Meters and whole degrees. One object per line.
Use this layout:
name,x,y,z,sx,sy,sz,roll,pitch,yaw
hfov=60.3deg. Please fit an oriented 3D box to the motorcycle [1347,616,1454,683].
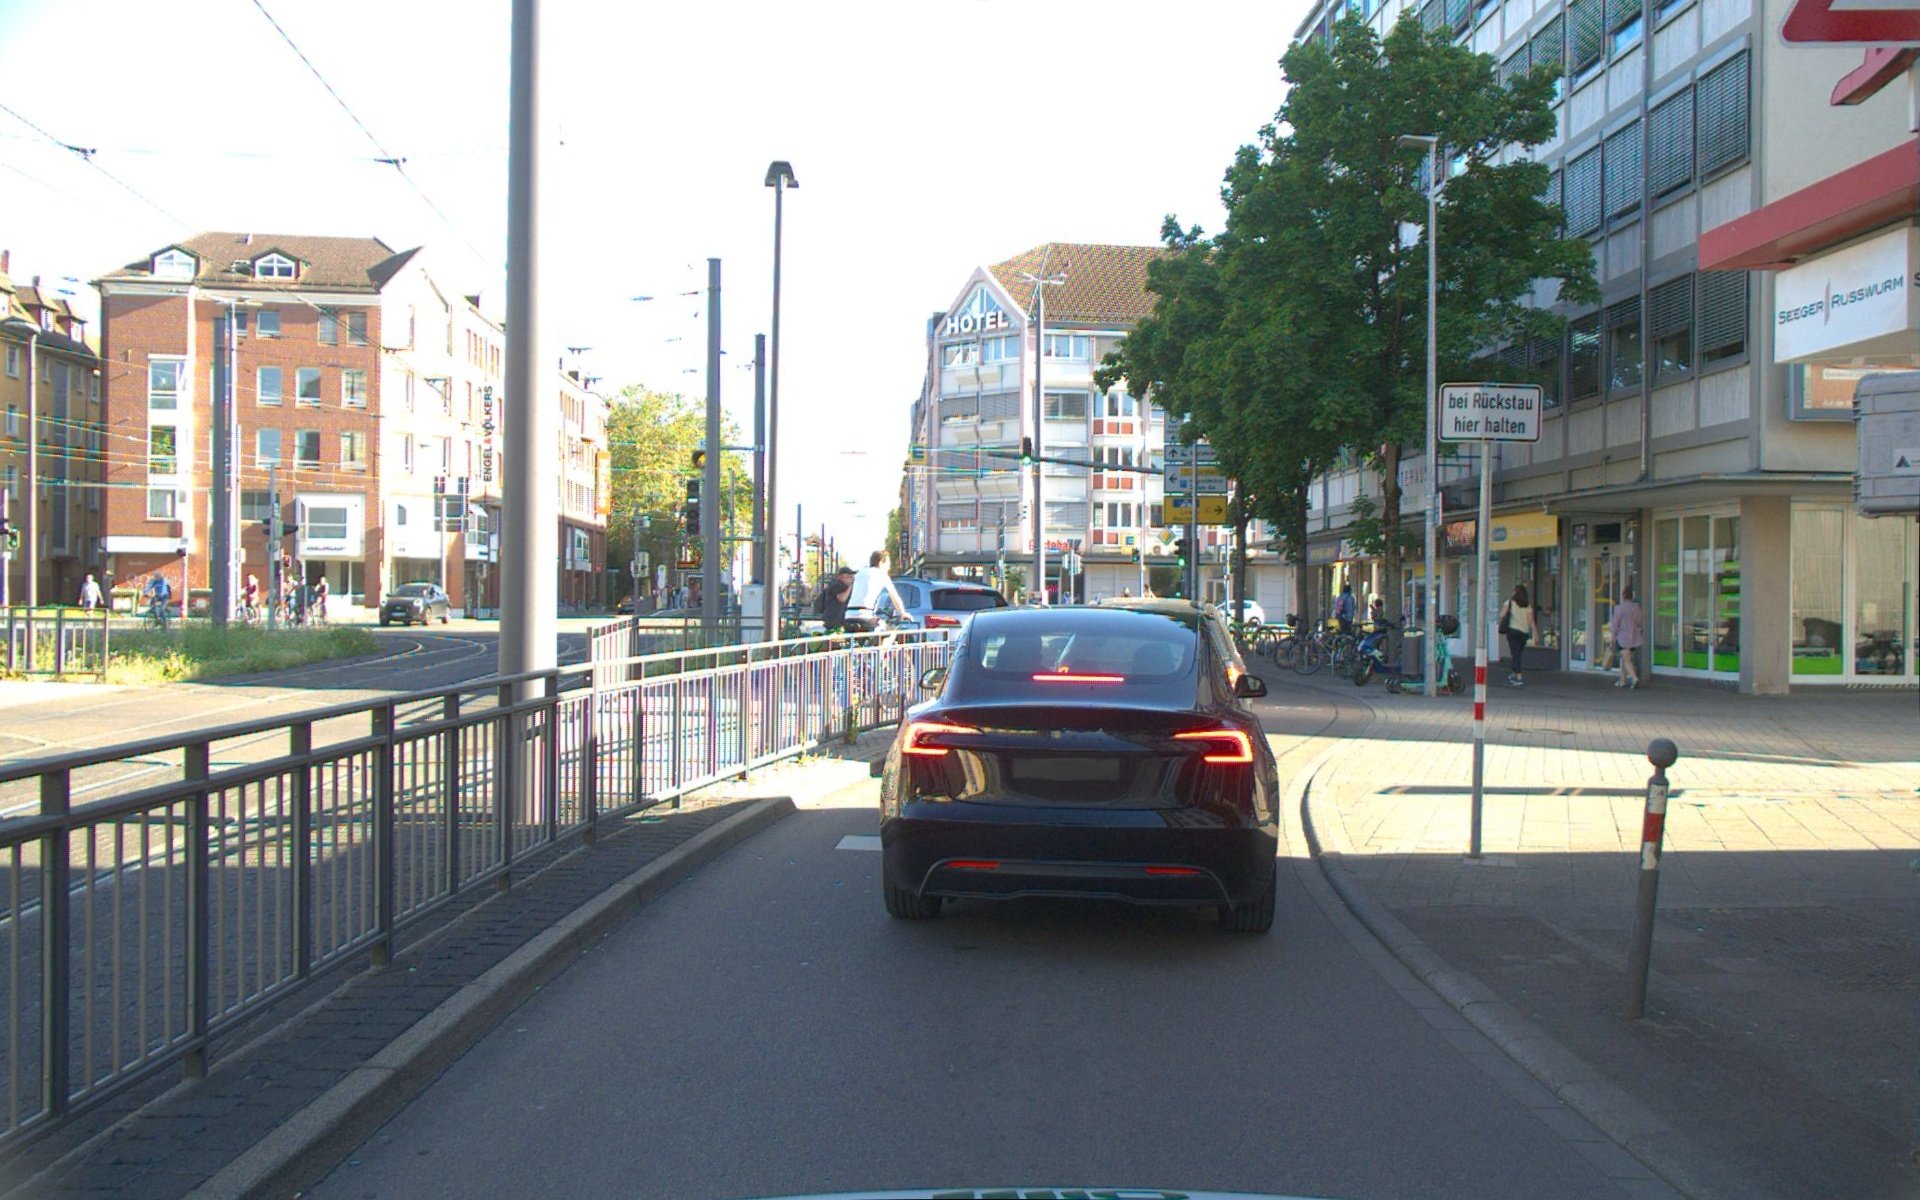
motorcycle,7.812,0.879,29.347,1.751,1.149,0.504,1,-1,-3

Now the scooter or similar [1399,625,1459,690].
scooter or similar,7.716,0.940,27.193,0.936,1.057,0.160,0,0,2

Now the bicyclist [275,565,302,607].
bicyclist,-24.343,-0.506,59.989,0.650,1.479,0.730,1,-1,0

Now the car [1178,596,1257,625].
car,13.496,0.576,86.665,3.766,1.457,1.801,1,-2,-6

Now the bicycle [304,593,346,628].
bicycle,-24.156,0.402,62.939,0.561,1.313,2.028,1,0,8

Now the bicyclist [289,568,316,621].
bicyclist,-21.362,-0.188,53.728,0.514,1.702,0.770,1,-1,1

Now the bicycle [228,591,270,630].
bicycle,-23.457,0.347,54.599,0.519,1.235,1.885,1,0,1

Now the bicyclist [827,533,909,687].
bicyclist,-1.010,0.111,18.196,0.678,1.659,0.569,1,-1,-44

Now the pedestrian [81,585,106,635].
pedestrian,-30.291,0.358,57.827,0.613,1.717,0.703,1,1,-13

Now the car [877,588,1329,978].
car,0.696,0.703,8.496,1.753,1.476,3.942,1,1,4

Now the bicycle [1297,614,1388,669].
bicycle,7.730,0.831,33.429,1.730,1.075,0.458,1,-1,4

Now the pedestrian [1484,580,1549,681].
pedestrian,9.797,0.525,29.130,0.826,1.737,0.880,1,-1,-1

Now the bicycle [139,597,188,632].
bicycle,-24.108,0.425,50.075,0.519,1.031,1.885,1,0,1

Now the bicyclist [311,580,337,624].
bicyclist,-24.129,0.075,62.749,0.576,1.678,0.807,1,-1,8

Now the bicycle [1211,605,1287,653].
bicycle,7.427,0.743,42.525,1.851,1.177,0.480,-1,-1,0

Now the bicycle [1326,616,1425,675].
bicycle,7.874,0.852,31.365,1.817,1.074,0.398,-1,0,-12

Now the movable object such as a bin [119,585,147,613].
movable object such as a bin,-42.969,-0.043,85.916,0.978,1.462,1.093,1,0,-10

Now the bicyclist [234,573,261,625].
bicyclist,-23.456,-0.027,54.427,0.510,1.702,0.770,1,-1,0

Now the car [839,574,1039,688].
car,-0.398,0.462,26.189,1.818,1.663,3.455,1,0,-27

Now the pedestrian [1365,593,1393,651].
pedestrian,10.701,0.560,42.220,0.631,1.447,0.621,1,-1,9

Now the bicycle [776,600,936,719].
bicycle,-1.119,0.634,18.094,1.812,1.233,0.573,1,-1,-45

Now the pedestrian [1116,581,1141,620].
pedestrian,7.000,0.023,68.785,0.766,1.604,0.864,1,1,-16

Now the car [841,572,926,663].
car,-1.497,0.331,32.303,1.541,1.646,3.781,1,0,-3

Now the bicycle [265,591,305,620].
bicycle,-24.380,0.201,59.765,0.636,1.031,1.885,1,0,1

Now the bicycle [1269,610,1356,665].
bicycle,7.556,0.793,35.462,1.774,1.172,0.435,0,0,-5

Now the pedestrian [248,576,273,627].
pedestrian,-28.441,0.079,67.268,0.582,2.049,0.830,1,-1,2

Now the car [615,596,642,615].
car,-26.353,0.450,131.577,1.783,1.479,3.971,-1,0,-7

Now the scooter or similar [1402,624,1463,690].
scooter or similar,7.711,0.927,26.995,0.943,1.061,0.160,0,0,2

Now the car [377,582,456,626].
car,-20.497,0.141,62.476,1.650,1.588,4.121,1,0,-1

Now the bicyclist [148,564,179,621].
bicyclist,-24.104,-0.212,50.066,0.510,1.702,0.770,1,-1,0

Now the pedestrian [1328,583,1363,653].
pedestrian,9.883,0.456,42.414,0.825,1.751,0.881,1,-1,10

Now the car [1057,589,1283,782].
car,1.789,0.652,15.163,1.727,1.469,4.531,1,0,4

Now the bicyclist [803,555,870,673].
bicyclist,-1.659,0.183,22.192,0.674,1.550,0.628,1,-1,-32

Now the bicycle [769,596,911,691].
bicycle,-1.605,0.582,22.223,1.802,1.233,0.635,1,-1,-32

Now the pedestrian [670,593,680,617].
pedestrian,-18.748,0.302,108.881,0.574,1.557,0.634,1,-1,-18

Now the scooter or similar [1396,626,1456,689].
scooter or similar,7.721,0.950,27.393,0.943,1.045,0.160,0,0,2

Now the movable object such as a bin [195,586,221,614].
movable object such as a bin,-39.270,0.014,86.380,0.978,1.462,1.093,1,0,-10

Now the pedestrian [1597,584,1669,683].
pedestrian,11.329,0.556,27.854,0.826,1.630,0.880,1,-1,-1

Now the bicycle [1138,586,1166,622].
bicycle,7.996,0.153,68.819,0.573,1.489,1.679,0,0,-16

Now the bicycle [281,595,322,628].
bicycle,-21.373,0.376,53.734,0.519,1.031,1.897,1,0,1
